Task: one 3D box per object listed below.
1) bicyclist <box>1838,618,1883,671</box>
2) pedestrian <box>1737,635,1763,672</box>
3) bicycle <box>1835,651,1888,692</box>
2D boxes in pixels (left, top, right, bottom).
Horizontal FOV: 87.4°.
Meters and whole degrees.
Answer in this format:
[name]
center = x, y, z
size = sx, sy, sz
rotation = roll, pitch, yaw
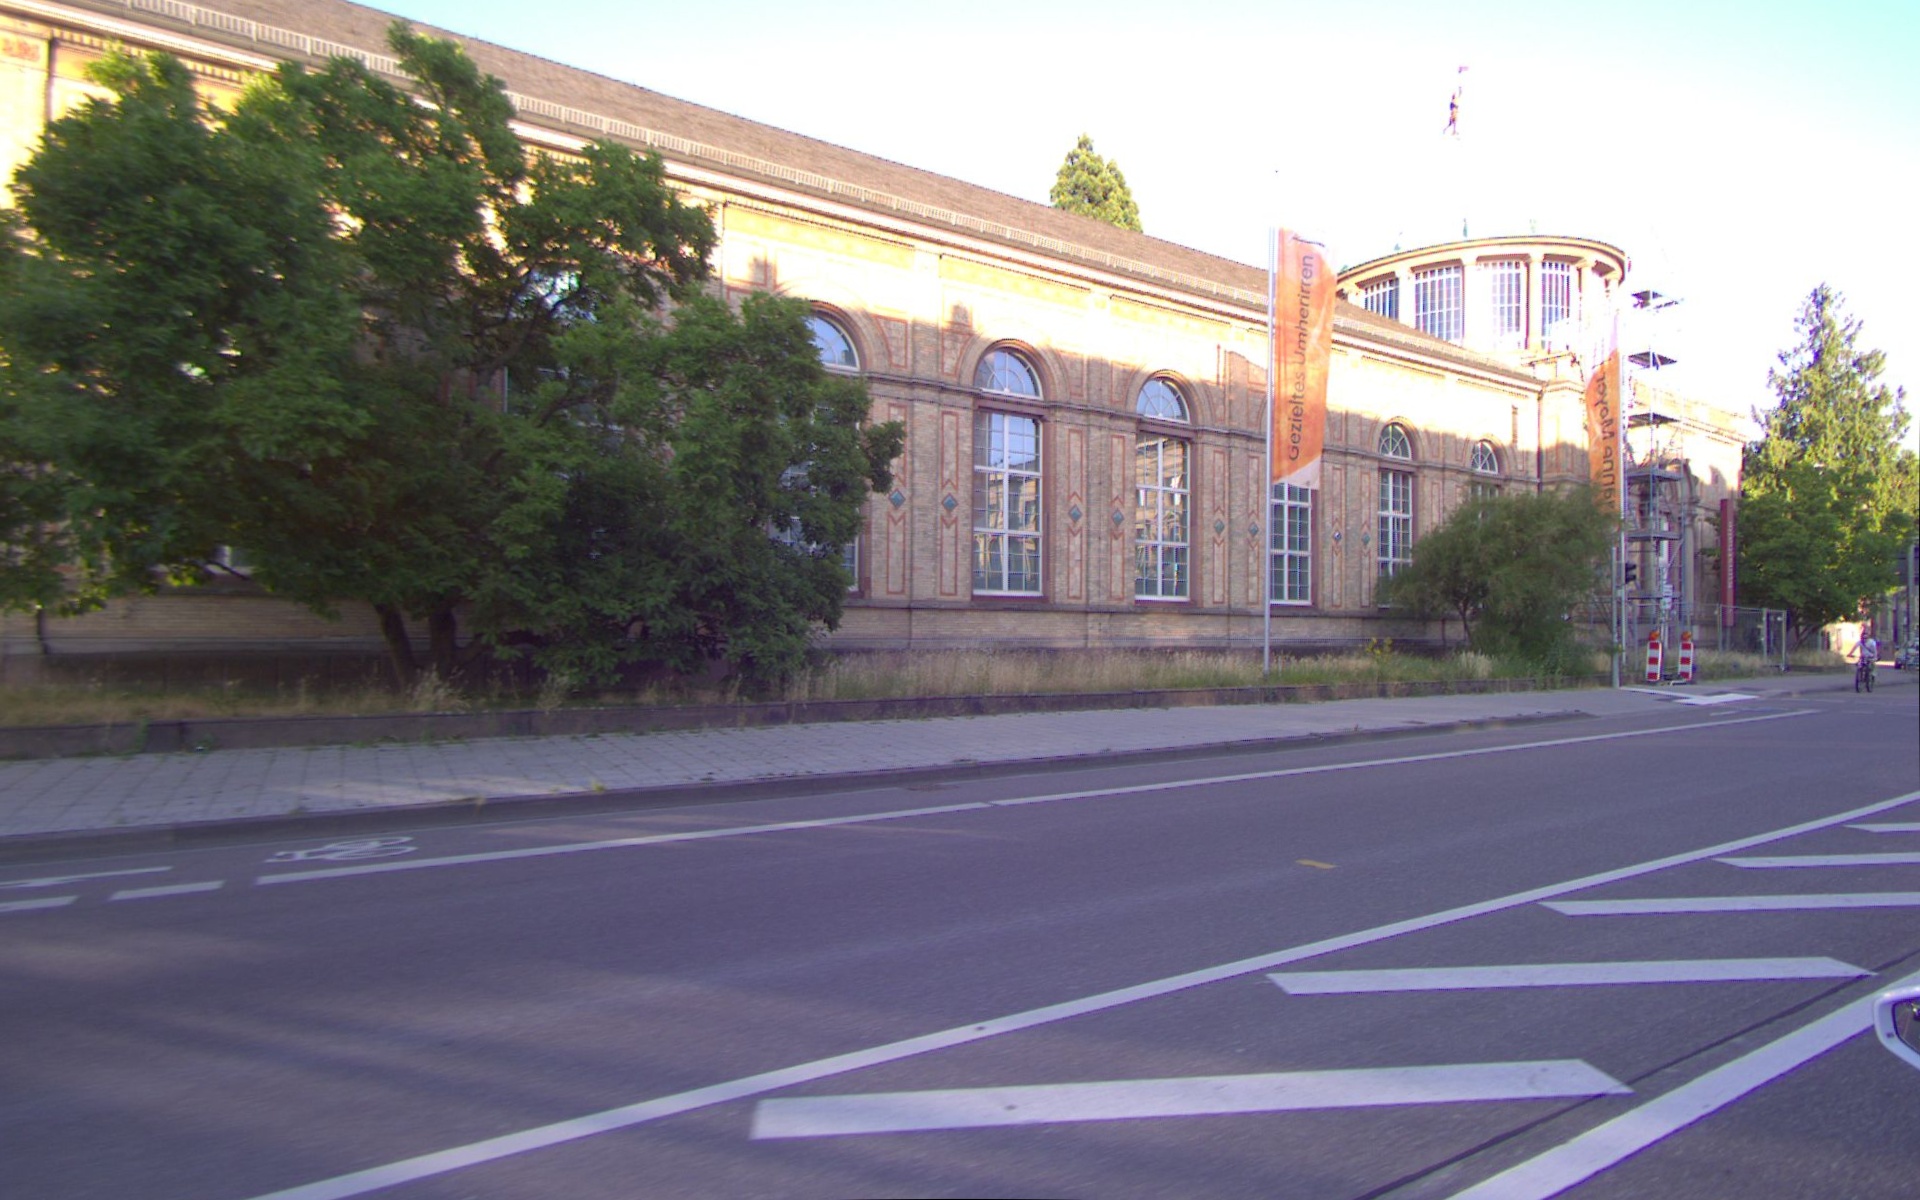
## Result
[bicyclist]
center = 25.449, 1.260, 28.382
size = 0.929, 1.479, 0.741
rotation = 1, -3, -37
[pedestrian]
center = 34.218, 2.304, 43.515
size = 0.755, 1.600, 0.730
rotation = 1, -1, -37
[bicycle]
center = 25.450, 2.005, 28.351
size = 1.915, 1.104, 0.748
rotation = 2, -3, -38
